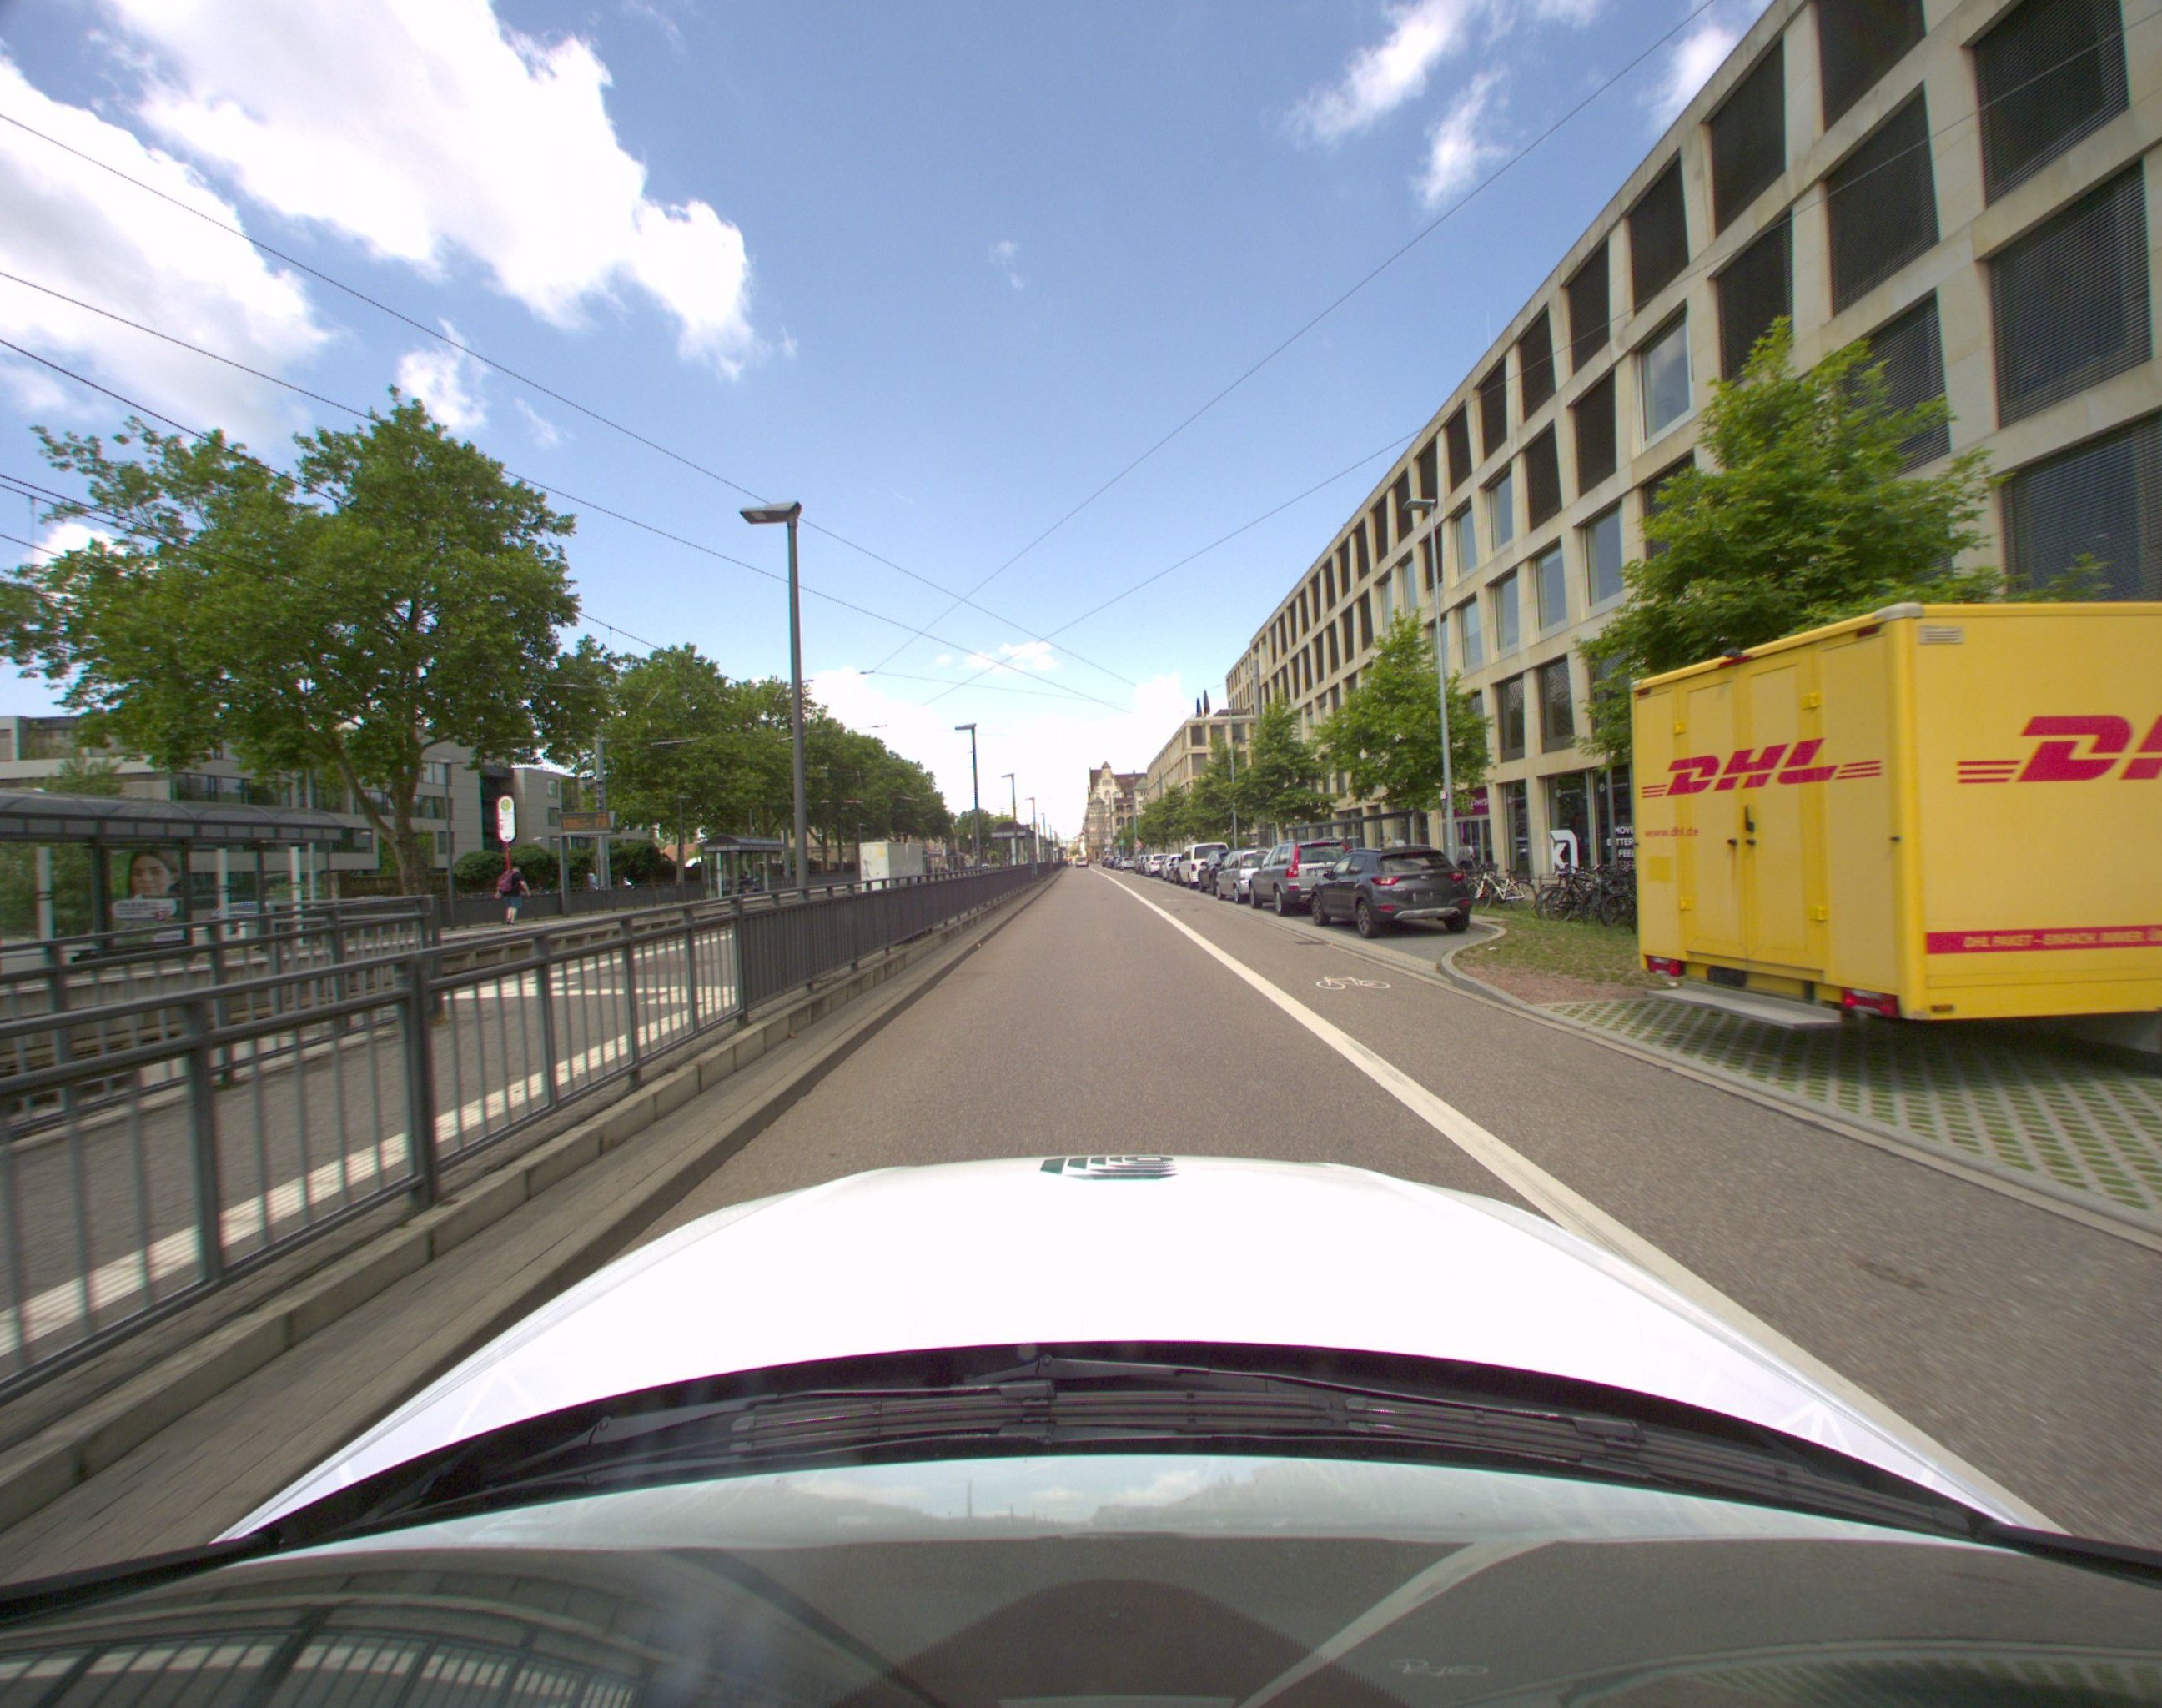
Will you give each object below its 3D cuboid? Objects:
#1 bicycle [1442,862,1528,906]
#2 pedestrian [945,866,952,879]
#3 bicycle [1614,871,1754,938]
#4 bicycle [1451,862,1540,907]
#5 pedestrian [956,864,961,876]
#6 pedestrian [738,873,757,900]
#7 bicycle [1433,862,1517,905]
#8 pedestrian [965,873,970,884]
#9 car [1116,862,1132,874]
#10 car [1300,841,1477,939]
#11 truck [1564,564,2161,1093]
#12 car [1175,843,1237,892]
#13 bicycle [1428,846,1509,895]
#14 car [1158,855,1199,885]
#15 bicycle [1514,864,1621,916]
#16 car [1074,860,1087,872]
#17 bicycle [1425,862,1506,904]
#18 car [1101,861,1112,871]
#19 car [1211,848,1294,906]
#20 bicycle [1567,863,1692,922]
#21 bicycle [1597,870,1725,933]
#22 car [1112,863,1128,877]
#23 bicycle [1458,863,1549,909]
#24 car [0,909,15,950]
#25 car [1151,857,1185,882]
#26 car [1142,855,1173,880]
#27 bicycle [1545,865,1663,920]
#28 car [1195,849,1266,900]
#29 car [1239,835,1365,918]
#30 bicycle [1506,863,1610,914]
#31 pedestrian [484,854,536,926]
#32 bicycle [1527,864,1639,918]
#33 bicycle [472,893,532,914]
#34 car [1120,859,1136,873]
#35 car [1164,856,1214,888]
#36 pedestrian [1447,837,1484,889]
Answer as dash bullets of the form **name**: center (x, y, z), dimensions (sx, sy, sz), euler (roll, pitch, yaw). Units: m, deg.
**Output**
- **bicycle**: center (9.571, 0.703, 19.290), dimensions (1.836, 0.994, 0.439), euler (1, -1, -2)
- **pedestrian**: center (-15.802, 2.172, 96.857), dimensions (0.701, 1.512, 0.801), euler (-4, 0, -9)
- **bicycle**: center (9.510, 0.787, 12.878), dimensions (1.836, 0.957, 0.519), euler (-2, -1, -2)
- **bicycle**: center (9.573, 0.701, 18.821), dimensions (1.836, 0.994, 0.439), euler (1, -1, -2)
- **pedestrian**: center (-16.494, 2.191, 109.955), dimensions (0.498, 1.558, 0.643), euler (-3, 0, 0)
- **pedestrian**: center (-16.611, 1.616, 40.611), dimensions (0.551, 1.269, 0.768), euler (-3, 0, 1)
- **bicycle**: center (9.550, 0.707, 19.754), dimensions (1.836, 0.994, 0.439), euler (1, -1, -2)
- **pedestrian**: center (-16.747, 3.612, 120.470), dimensions (0.498, 1.683, 0.643), euler (-5, 0, 0)
- **car**: center (5.373, 1.780, 101.939), dimensions (1.587, 1.434, 4.103), euler (-1, 0, -2)
- **car**: center (5.528, 0.584, 15.224), dimensions (1.686, 1.504, 4.067), euler (-3, 0, -1)
- **truck**: center (7.639, -0.283, 5.925), dimensions (6.790, 2.867, 2.452), euler (-3, -1, -3)
- **car**: center (5.586, 0.578, 36.980), dimensions (1.876, 1.939, 4.842), euler (-4, 0, 0)
- **bicycle**: center (10.081, 0.430, 21.198), dimensions (1.837, 1.125, 0.480), euler (-4, 0, -2)
- **car**: center (5.696, 0.898, 47.885), dimensions (1.787, 1.529, 4.157), euler (-4, 0, -1)
- **bicycle**: center (9.470, 0.690, 15.868), dimensions (1.836, 0.939, 0.439), euler (-2, -1, -2)
- **car**: center (-0.083, 1.834, 127.901), dimensions (1.863, 1.746, 3.998), euler (-2, 0, -1)
- **bicycle**: center (9.545, 0.710, 20.235), dimensions (1.836, 0.994, 0.439), euler (1, -1, -2)
- **car**: center (4.018, 1.887, 128.722), dimensions (1.439, 1.470, 4.089), euler (-1, 0, -2)
- **car**: center (5.364, 0.680, 25.896), dimensions (1.716, 1.619, 3.859), euler (-3, 0, -1)
- **bicycle**: center (9.477, 0.654, 14.101), dimensions (1.836, 0.939, 0.512), euler (-2, -1, -2)
- **bicycle**: center (9.497, 0.770, 13.362), dimensions (1.836, 0.957, 0.381), euler (-2, -1, -2)
- **car**: center (5.120, 2.136, 107.709), dimensions (1.734, 1.669, 4.836), euler (-1, 0, -2)
- **bicycle**: center (9.511, 0.710, 18.342), dimensions (1.836, 0.994, 0.439), euler (1, -1, -2)
- **car**: center (-56.204, 3.905, 41.547), dimensions (3.948, 2.013, 2.013), euler (-3, 1, 39)
- **car**: center (5.636, 0.962, 52.960), dimensions (1.680, 1.457, 3.949), euler (-4, 0, -1)
- **car**: center (5.432, 0.926, 58.058), dimensions (1.680, 1.606, 4.150), euler (-4, 0, -1)
- **bicycle**: center (9.555, 0.694, 14.902), dimensions (1.836, 0.939, 0.512), euler (-2, -1, -2)
- **car**: center (5.564, 0.725, 30.854), dimensions (1.716, 1.640, 4.526), euler (-4, 0, 0)
- **car**: center (5.418, 0.495, 20.655), dimensions (1.763, 1.767, 4.838), euler (-3, 0, 0)
- **bicycle**: center (9.547, 0.686, 16.319), dimensions (1.836, 0.939, 0.439), euler (-2, -1, -2)
- **pedestrian**: center (-15.238, 0.940, 21.755), dimensions (0.704, 1.845, 0.864), euler (-3, 1, -2)
- **bicycle**: center (9.483, 0.693, 15.405), dimensions (1.836, 0.939, 0.439), euler (-2, -1, -2)
- **bicycle**: center (-32.203, 2.746, 45.307), dimensions (3.025, 1.167, 0.635), euler (0, 0, 4)
- **car**: center (5.228, 1.294, 90.677), dimensions (1.586, 1.460, 3.613), euler (-1, 0, 1)
- **car**: center (5.575, 0.899, 42.601), dimensions (1.876, 1.487, 4.562), euler (-4, 0, -1)
- **pedestrian**: center (11.905, 0.282, 25.242), dimensions (0.635, 1.551, 0.905), euler (-3, 0, -1)
